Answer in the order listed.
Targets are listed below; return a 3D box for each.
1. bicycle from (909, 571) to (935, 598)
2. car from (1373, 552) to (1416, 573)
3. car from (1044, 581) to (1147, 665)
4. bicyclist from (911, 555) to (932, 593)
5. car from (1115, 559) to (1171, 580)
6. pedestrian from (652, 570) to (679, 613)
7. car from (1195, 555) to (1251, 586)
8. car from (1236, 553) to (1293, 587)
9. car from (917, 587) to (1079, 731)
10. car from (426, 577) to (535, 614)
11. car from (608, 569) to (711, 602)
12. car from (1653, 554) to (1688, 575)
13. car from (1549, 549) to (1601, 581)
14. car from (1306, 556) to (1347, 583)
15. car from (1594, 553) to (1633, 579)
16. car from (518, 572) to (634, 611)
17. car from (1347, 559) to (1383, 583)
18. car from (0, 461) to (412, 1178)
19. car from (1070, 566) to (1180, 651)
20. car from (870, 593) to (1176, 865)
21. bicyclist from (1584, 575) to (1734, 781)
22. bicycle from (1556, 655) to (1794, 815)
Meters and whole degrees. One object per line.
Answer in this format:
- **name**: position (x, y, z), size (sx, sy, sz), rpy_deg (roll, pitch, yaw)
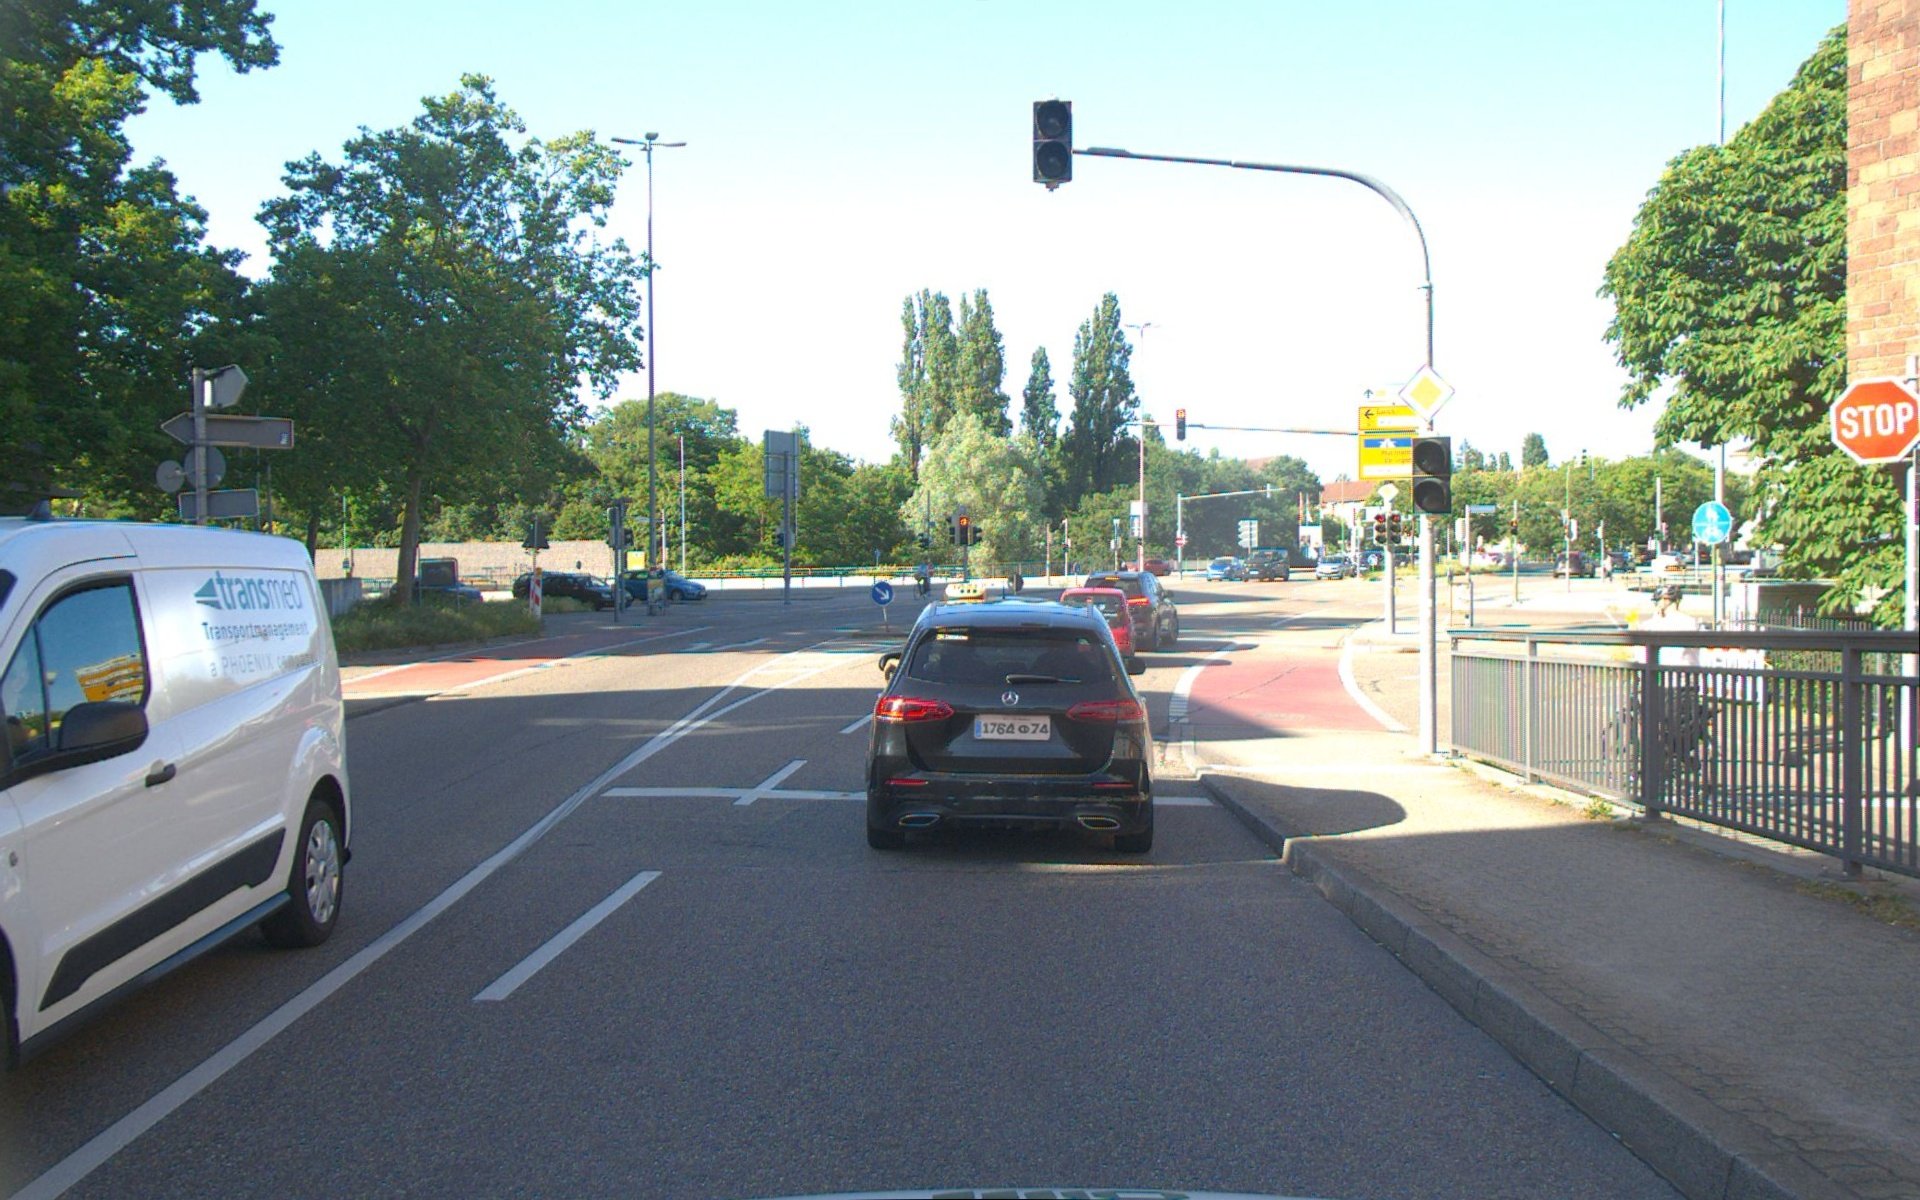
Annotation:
- **bicycle**: position (-1.761, -0.737, 77.410), size (0.672, 1.223, 2.329), rpy_deg (0, 2, 12)
- **car**: position (31.711, -2.701, 120.655), size (1.957, 1.478, 3.990), rpy_deg (1, 1, 32)
- **car**: position (2.803, 0.414, 33.444), size (1.781, 1.505, 4.004), rpy_deg (2, 1, 8)
- **bicyclist**: position (-1.797, -1.230, 77.258), size (0.672, 1.730, 1.199), rpy_deg (0, 2, 12)
- **car**: position (14.192, -2.369, 128.122), size (3.944, 1.575, 1.981), rpy_deg (-1, 2, -29)
- **pedestrian**: position (-11.402, -0.312, 63.990), size (0.672, 1.565, 1.366), rpy_deg (1, -3, 4)
- **car**: position (16.730, -1.901, 105.168), size (1.956, 1.897, 4.844), rpy_deg (0, 2, 29)
- **car**: position (18.616, -1.838, 101.043), size (1.956, 1.969, 4.844), rpy_deg (0, 2, 29)
- **car**: position (0.523, 0.645, 20.406), size (1.782, 1.515, 4.002), rpy_deg (-1, 1, 3)
- **car**: position (-20.122, -0.194, 69.388), size (4.352, 1.463, 1.823), rpy_deg (0, 1, 29)
- **car**: position (-13.671, -0.658, 75.209), size (4.348, 1.463, 1.825), rpy_deg (0, 1, 25)
- **car**: position (58.470, -2.933, 136.079), size (1.959, 1.668, 3.987), rpy_deg (0, 1, 35)
- **car**: position (38.589, -2.173, 103.690), size (1.962, 1.825, 3.981), rpy_deg (0, -1, 38)
- **car**: position (23.084, -1.929, 104.098), size (1.783, 1.610, 4.104), rpy_deg (0, 1, 22)
- **car**: position (47.620, -2.467, 120.484), size (1.957, 1.825, 3.991), rpy_deg (0, 1, 32)
- **car**: position (-15.177, -0.322, 65.377), size (4.352, 1.463, 1.823), rpy_deg (0, 1, 29)
- **car**: position (27.724, -1.994, 113.044), size (1.689, 1.610, 4.002), rpy_deg (0, 2, 24)
- **car**: position (-3.477, 0.546, 5.749), size (1.775, 1.833, 5.116), rpy_deg (-1, 1, -5)
- **car**: position (3.942, 0.141, 38.912), size (1.829, 1.821, 4.418), rpy_deg (1, 2, 15)
- **car**: position (0.310, 0.752, 11.396), size (1.715, 1.520, 3.998), rpy_deg (1, -1, -2)
- **bicyclist**: position (6.124, 0.664, 14.545), size (0.784, 1.735, 1.083), rpy_deg (0, -1, -8)
- **bicycle**: position (6.164, 1.122, 14.449), size (0.784, 1.130, 2.398), rpy_deg (0, 2, -7)
